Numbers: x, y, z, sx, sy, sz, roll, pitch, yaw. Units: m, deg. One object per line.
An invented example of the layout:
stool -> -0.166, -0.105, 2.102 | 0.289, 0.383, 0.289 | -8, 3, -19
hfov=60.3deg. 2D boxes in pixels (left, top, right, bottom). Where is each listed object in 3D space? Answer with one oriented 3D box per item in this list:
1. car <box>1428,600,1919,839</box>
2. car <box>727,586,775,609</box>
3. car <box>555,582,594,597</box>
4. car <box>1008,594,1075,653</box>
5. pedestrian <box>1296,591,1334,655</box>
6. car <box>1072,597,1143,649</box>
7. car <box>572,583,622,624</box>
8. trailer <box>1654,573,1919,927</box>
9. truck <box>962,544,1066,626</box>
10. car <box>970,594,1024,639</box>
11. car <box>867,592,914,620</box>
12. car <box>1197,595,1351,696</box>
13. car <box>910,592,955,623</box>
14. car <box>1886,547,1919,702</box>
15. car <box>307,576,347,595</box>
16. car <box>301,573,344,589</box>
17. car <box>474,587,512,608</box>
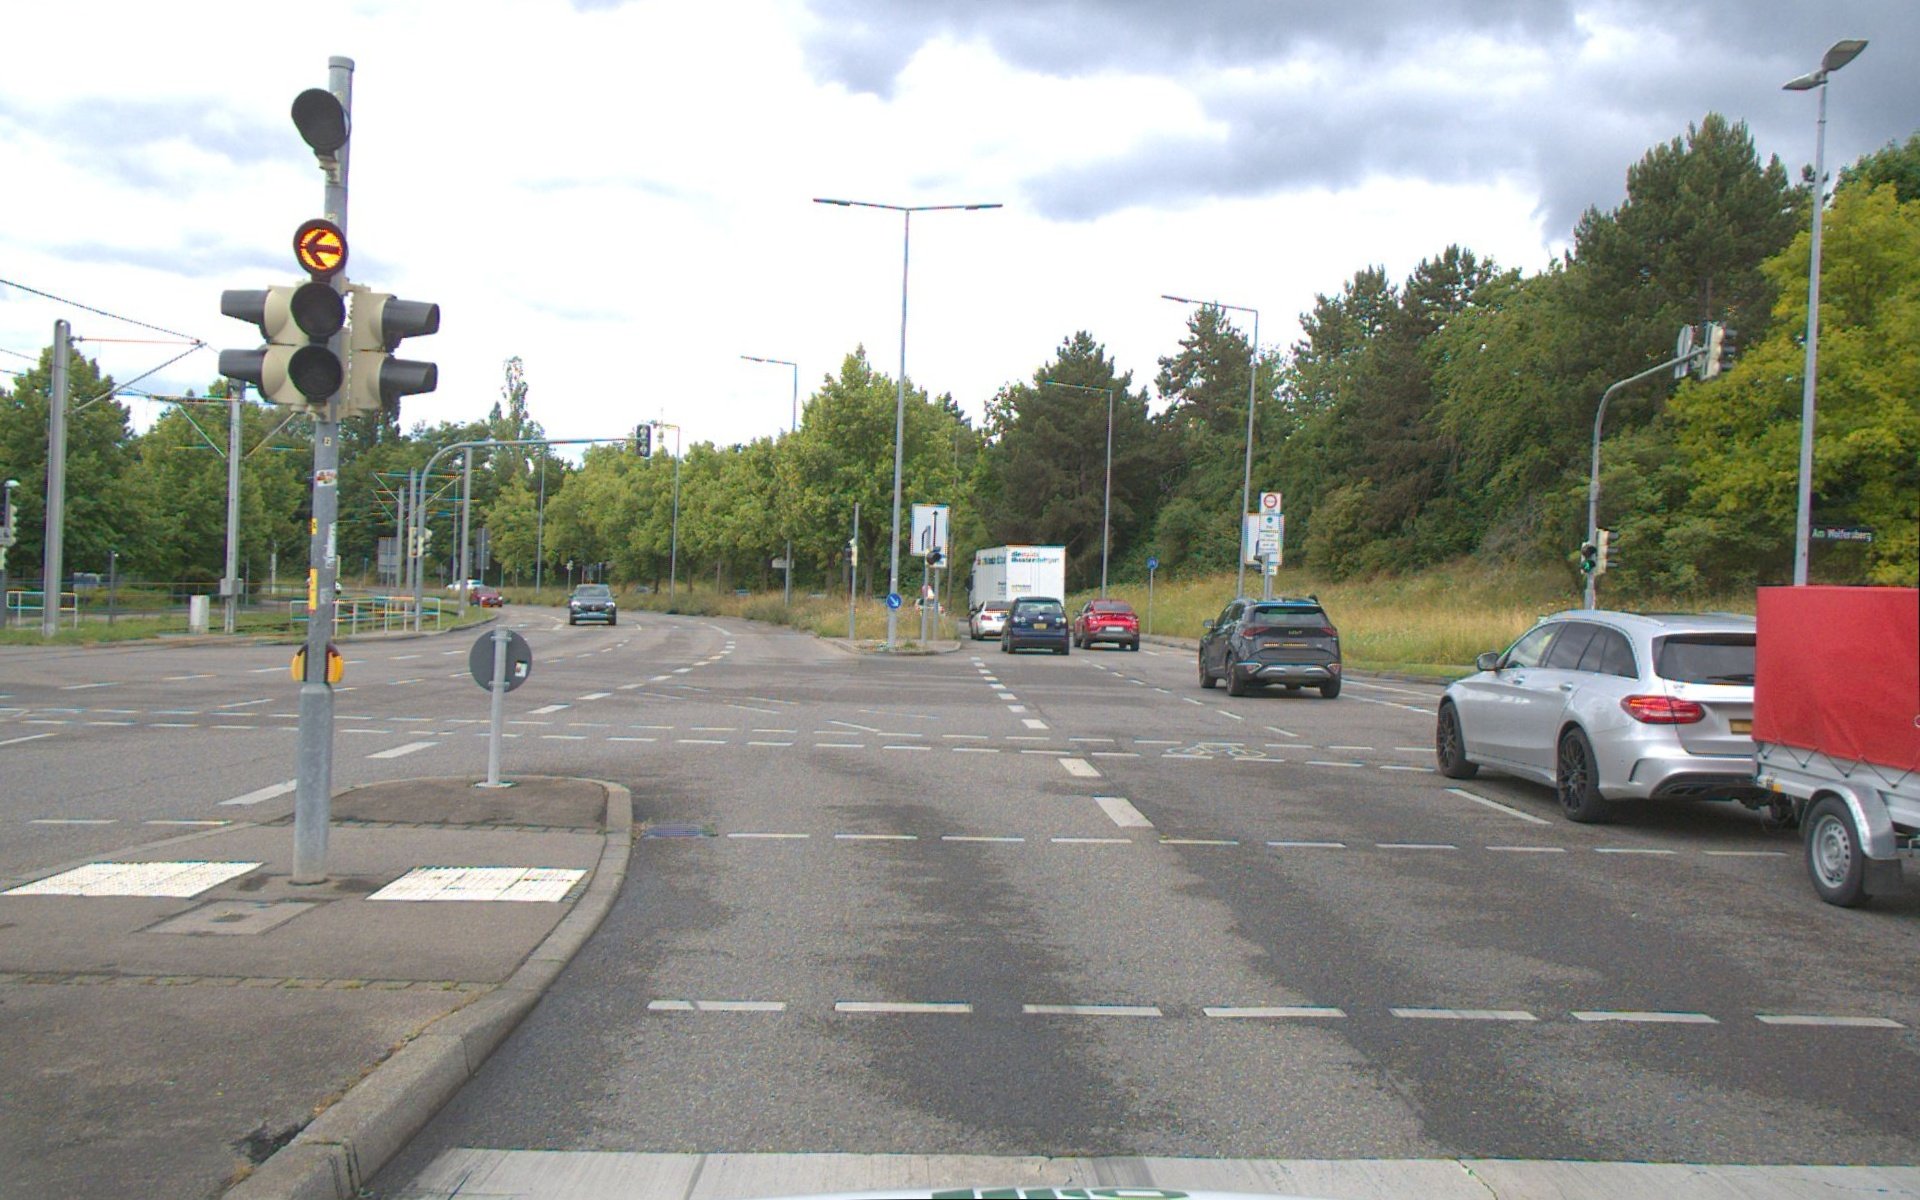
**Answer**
car -> 5.150, 0.757, 12.641 | 1.742, 1.446, 4.457 | 1, 0, -2
car -> -15.643, -0.195, 123.683 | 1.766, 1.573, 3.969 | 1, 1, -39
car -> -41.062, -1.127, 176.187 | 1.744, 1.573, 4.018 | 1, 0, 29
car -> 2.270, 0.625, 46.911 | 1.741, 1.573, 4.025 | 1, 0, 1
pedestrian -> 9.359, 0.606, 43.599 | 0.797, 1.656, 0.790 | 1, 0, -1
car -> 4.730, 0.712, 53.400 | 1.742, 1.573, 4.023 | 1, 0, -3
car -> -14.545, 0.111, 66.514 | 1.745, 1.573, 4.215 | 1, 0, -10
trailer -> 5.287, 0.700, 8.910 | 1.729, 1.644, 3.043 | 1, 0, -2
truck -> 2.268, -0.674, 74.642 | 2.688, 3.387, 11.385 | 1, 0, -8
car -> 1.356, 0.576, 61.880 | 1.742, 1.573, 4.023 | 1, 0, -2
car -> -4.193, 0.359, 99.416 | 1.751, 1.573, 4.003 | 1, 0, -19
car -> 5.336, 0.727, 28.577 | 1.742, 1.573, 4.023 | 1, 0, -2
car -> -1.484, 0.364, 88.860 | 1.746, 1.573, 4.014 | 1, 0, -11
car -> 20.328, 0.467, 30.092 | 5.772, 2.830, 2.135 | 0, 0, -1
car -> -57.685, -1.295, 150.689 | 4.351, 1.657, 1.822 | 0, 0, 44
car -> -66.054, -1.974, 171.263 | 4.429, 1.471, 1.783 | 2, 3, 30
car -> -33.337, -0.191, 117.935 | 1.760, 1.468, 4.384 | 0, 0, -28
